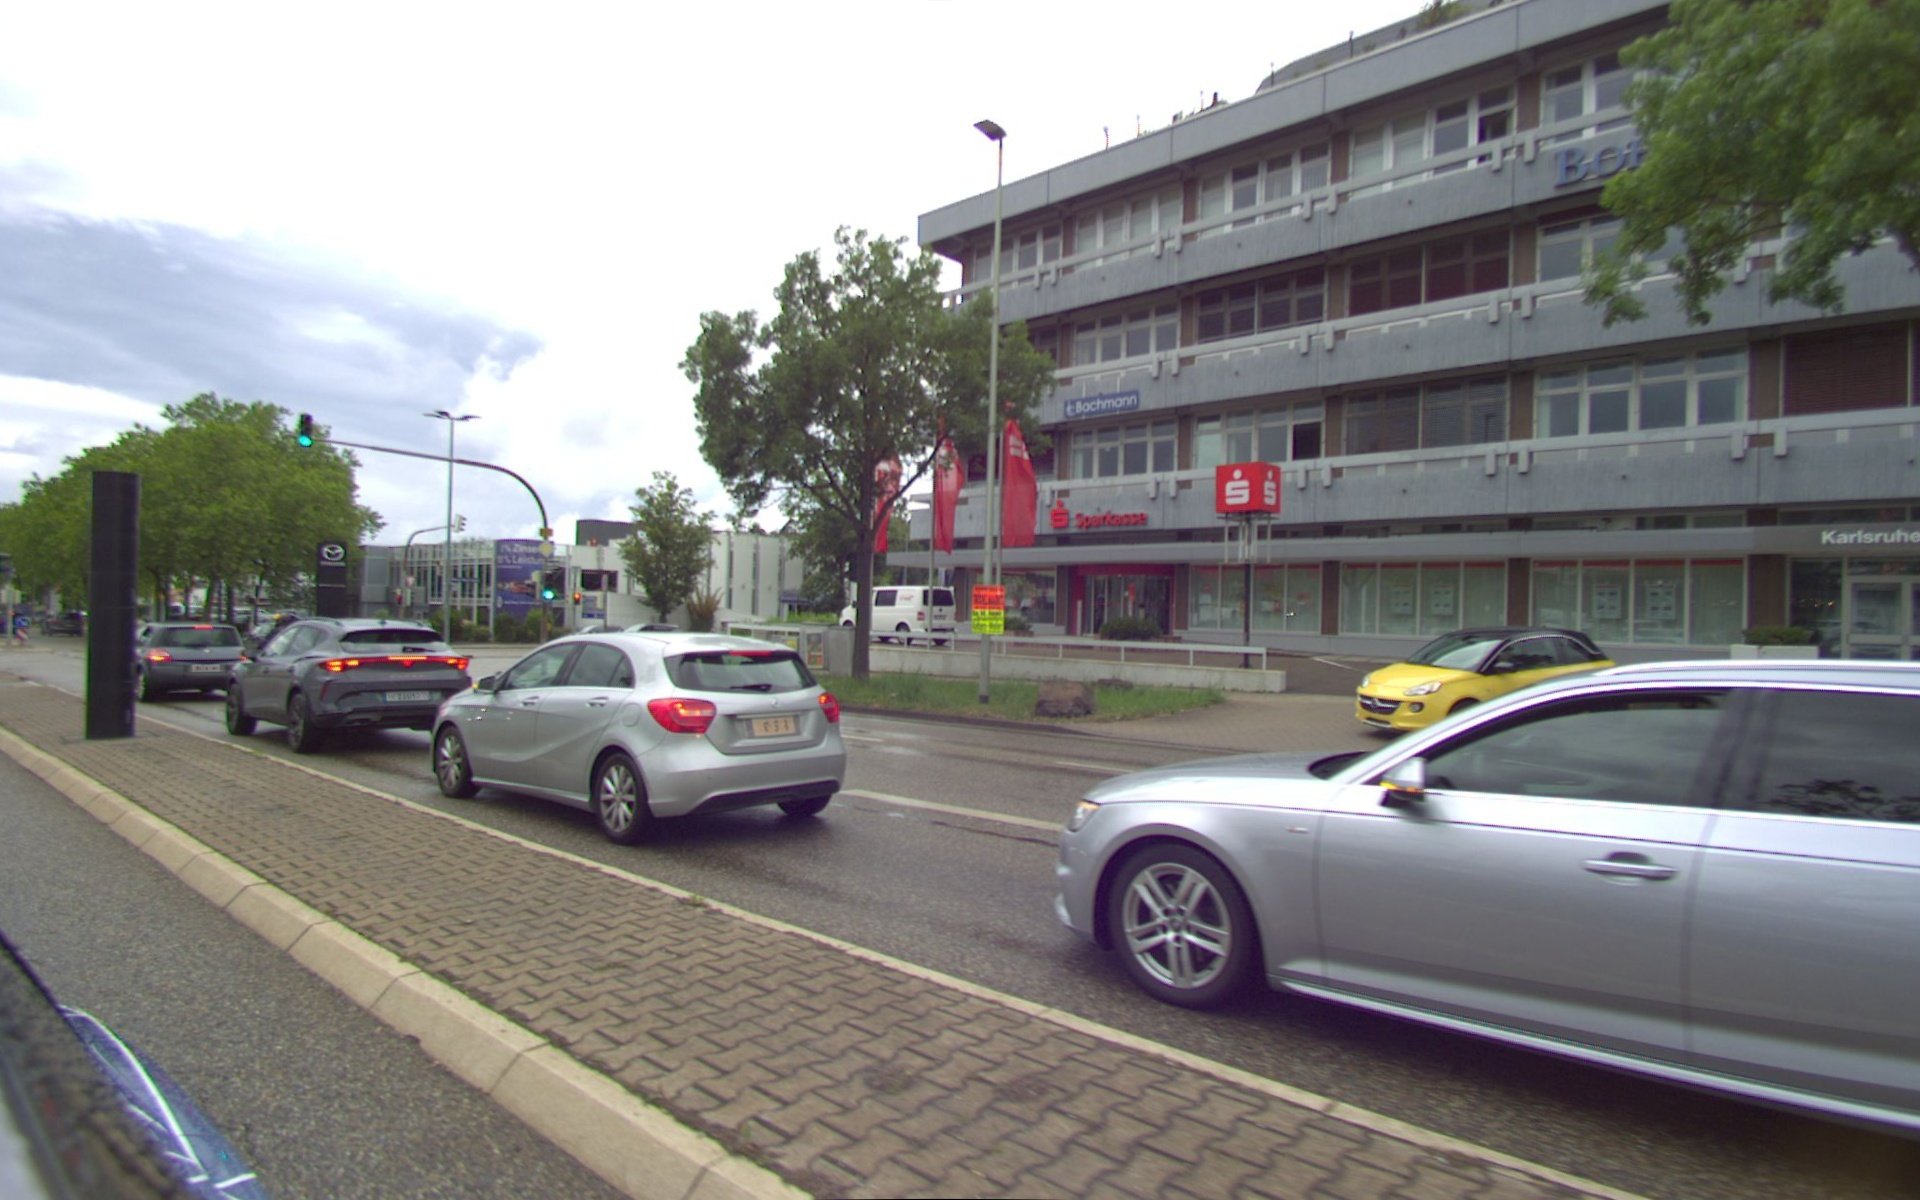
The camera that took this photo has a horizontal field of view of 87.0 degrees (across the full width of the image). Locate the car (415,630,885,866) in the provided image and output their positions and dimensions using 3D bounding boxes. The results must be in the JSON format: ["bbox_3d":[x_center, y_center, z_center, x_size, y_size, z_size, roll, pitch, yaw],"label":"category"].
[{"bbox_3d":[-2.629,0.973,8.111,3.998,1.417,1.723,-1,-3,41],"label":"car"}]

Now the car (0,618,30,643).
[{"bbox_3d":[-60.513,1.949,64.222,3.998,1.522,1.731,-1,-3,41],"label":"car"}]

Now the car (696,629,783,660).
[{"bbox_3d":[-12.398,2.505,57.146,4.456,1.670,1.956,3,-3,-44],"label":"car"}]

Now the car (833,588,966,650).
[{"bbox_3d":[-2.208,0.626,35.466,1.970,2.029,4.890,-1,0,-43],"label":"car"}]

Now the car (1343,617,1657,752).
[{"bbox_3d":[7.443,1.092,14.054,3.650,1.520,1.626,-2,2,-12],"label":"car"}]

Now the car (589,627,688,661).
[{"bbox_3d":[-16.688,2.286,52.650,4.456,1.670,1.956,3,-3,-44],"label":"car"}]

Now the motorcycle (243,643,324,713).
[{"bbox_3d":[-11.650,1.314,17.408,1.799,1.116,0.695,-1,-3,41],"label":"motorcycle"}]

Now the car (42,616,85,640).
[{"bbox_3d":[-62.424,1.958,70.438,3.998,1.587,1.731,-1,-3,41],"label":"car"}]

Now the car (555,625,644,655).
[{"bbox_3d":[-21.041,2.348,59.132,4.456,1.670,1.956,3,-3,-44],"label":"car"}]

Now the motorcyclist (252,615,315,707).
[{"bbox_3d":[-11.627,1.039,17.404,0.726,1.539,0.684,-1,-3,41],"label":"motorcyclist"}]

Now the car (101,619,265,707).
[{"bbox_3d":[-15.041,1.158,19.521,3.998,1.522,1.731,-1,-3,41],"label":"car"}]

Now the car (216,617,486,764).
[{"bbox_3d":[-7.688,1.022,12.638,3.998,1.536,1.731,-1,-3,41],"label":"car"}]

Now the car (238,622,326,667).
[{"bbox_3d":[-25.446,1.614,37.958,3.998,1.522,1.775,-1,0,41],"label":"car"}]

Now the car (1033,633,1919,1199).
[{"bbox_3d":[2.624,0.847,3.408,4.614,1.417,1.765,-1,-3,41],"label":"car"}]
